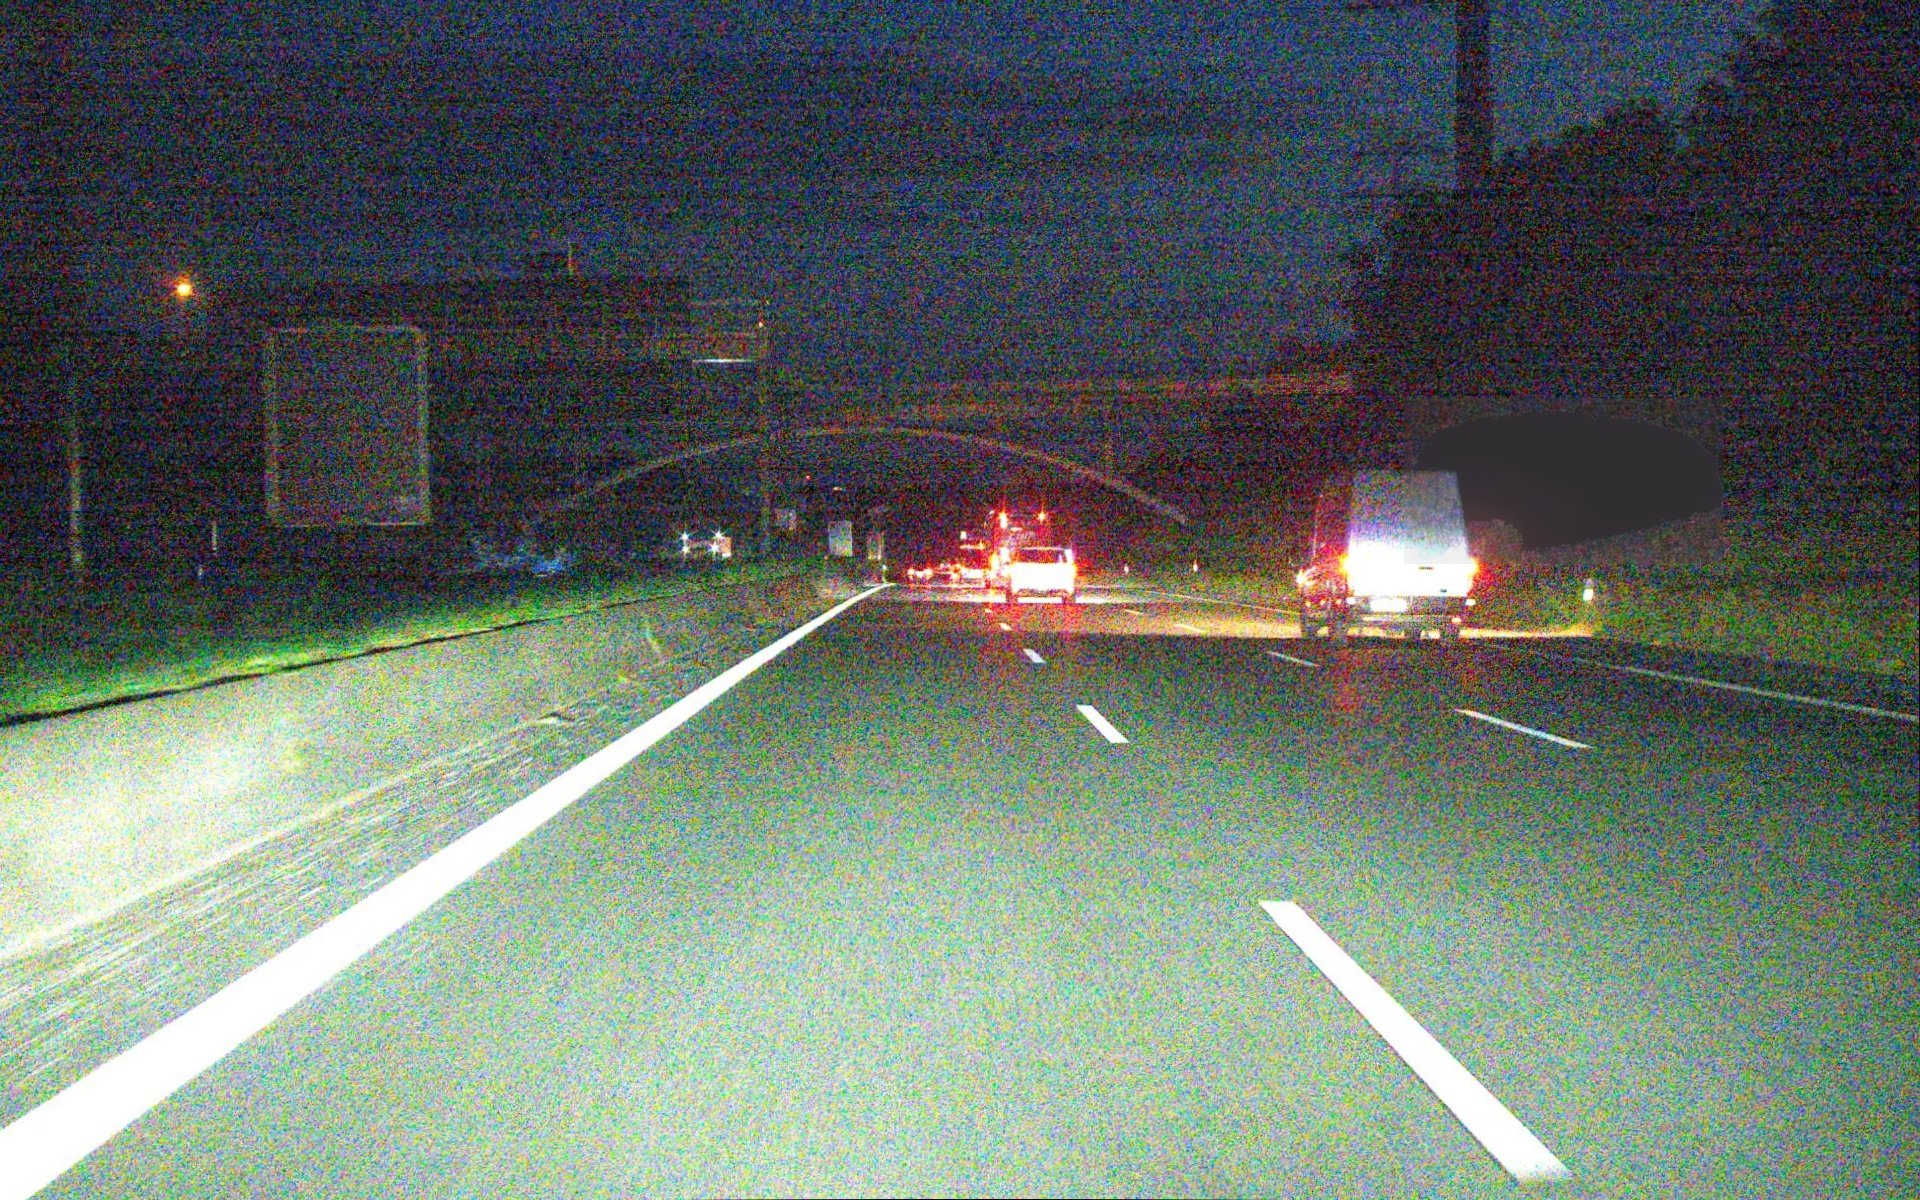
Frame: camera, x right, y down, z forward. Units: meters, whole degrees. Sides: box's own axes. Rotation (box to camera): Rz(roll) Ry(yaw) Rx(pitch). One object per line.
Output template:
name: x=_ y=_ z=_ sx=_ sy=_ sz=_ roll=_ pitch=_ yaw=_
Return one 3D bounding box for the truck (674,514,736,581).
truck: x=-18.626 y=-3.936 z=251.843 sx=3.246 sy=4.473 sz=17.440 roll=1 pitch=2 yaw=0

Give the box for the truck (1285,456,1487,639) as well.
truck: x=6.691 y=-0.757 z=54.849 sx=2.076 sy=2.682 sz=7.308 roll=1 pitch=0 yaw=-1

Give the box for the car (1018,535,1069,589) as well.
car: x=2.288 y=-1.063 z=94.731 sx=1.346 sy=1.382 sz=3.502 roll=1 pitch=2 yaw=0

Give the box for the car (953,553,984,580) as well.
car: x=0.513 y=-2.002 z=204.130 sx=1.821 sy=1.461 sz=4.248 roll=1 pitch=2 yaw=0

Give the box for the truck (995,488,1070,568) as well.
truck: x=3.143 y=-3.213 z=151.218 sx=3.044 sy=3.313 sz=10.143 roll=1 pitch=2 yaw=0

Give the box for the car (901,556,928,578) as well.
car: x=-3.337 y=-2.457 z=253.195 sx=1.821 sy=1.461 sz=4.248 roll=1 pitch=2 yaw=0
